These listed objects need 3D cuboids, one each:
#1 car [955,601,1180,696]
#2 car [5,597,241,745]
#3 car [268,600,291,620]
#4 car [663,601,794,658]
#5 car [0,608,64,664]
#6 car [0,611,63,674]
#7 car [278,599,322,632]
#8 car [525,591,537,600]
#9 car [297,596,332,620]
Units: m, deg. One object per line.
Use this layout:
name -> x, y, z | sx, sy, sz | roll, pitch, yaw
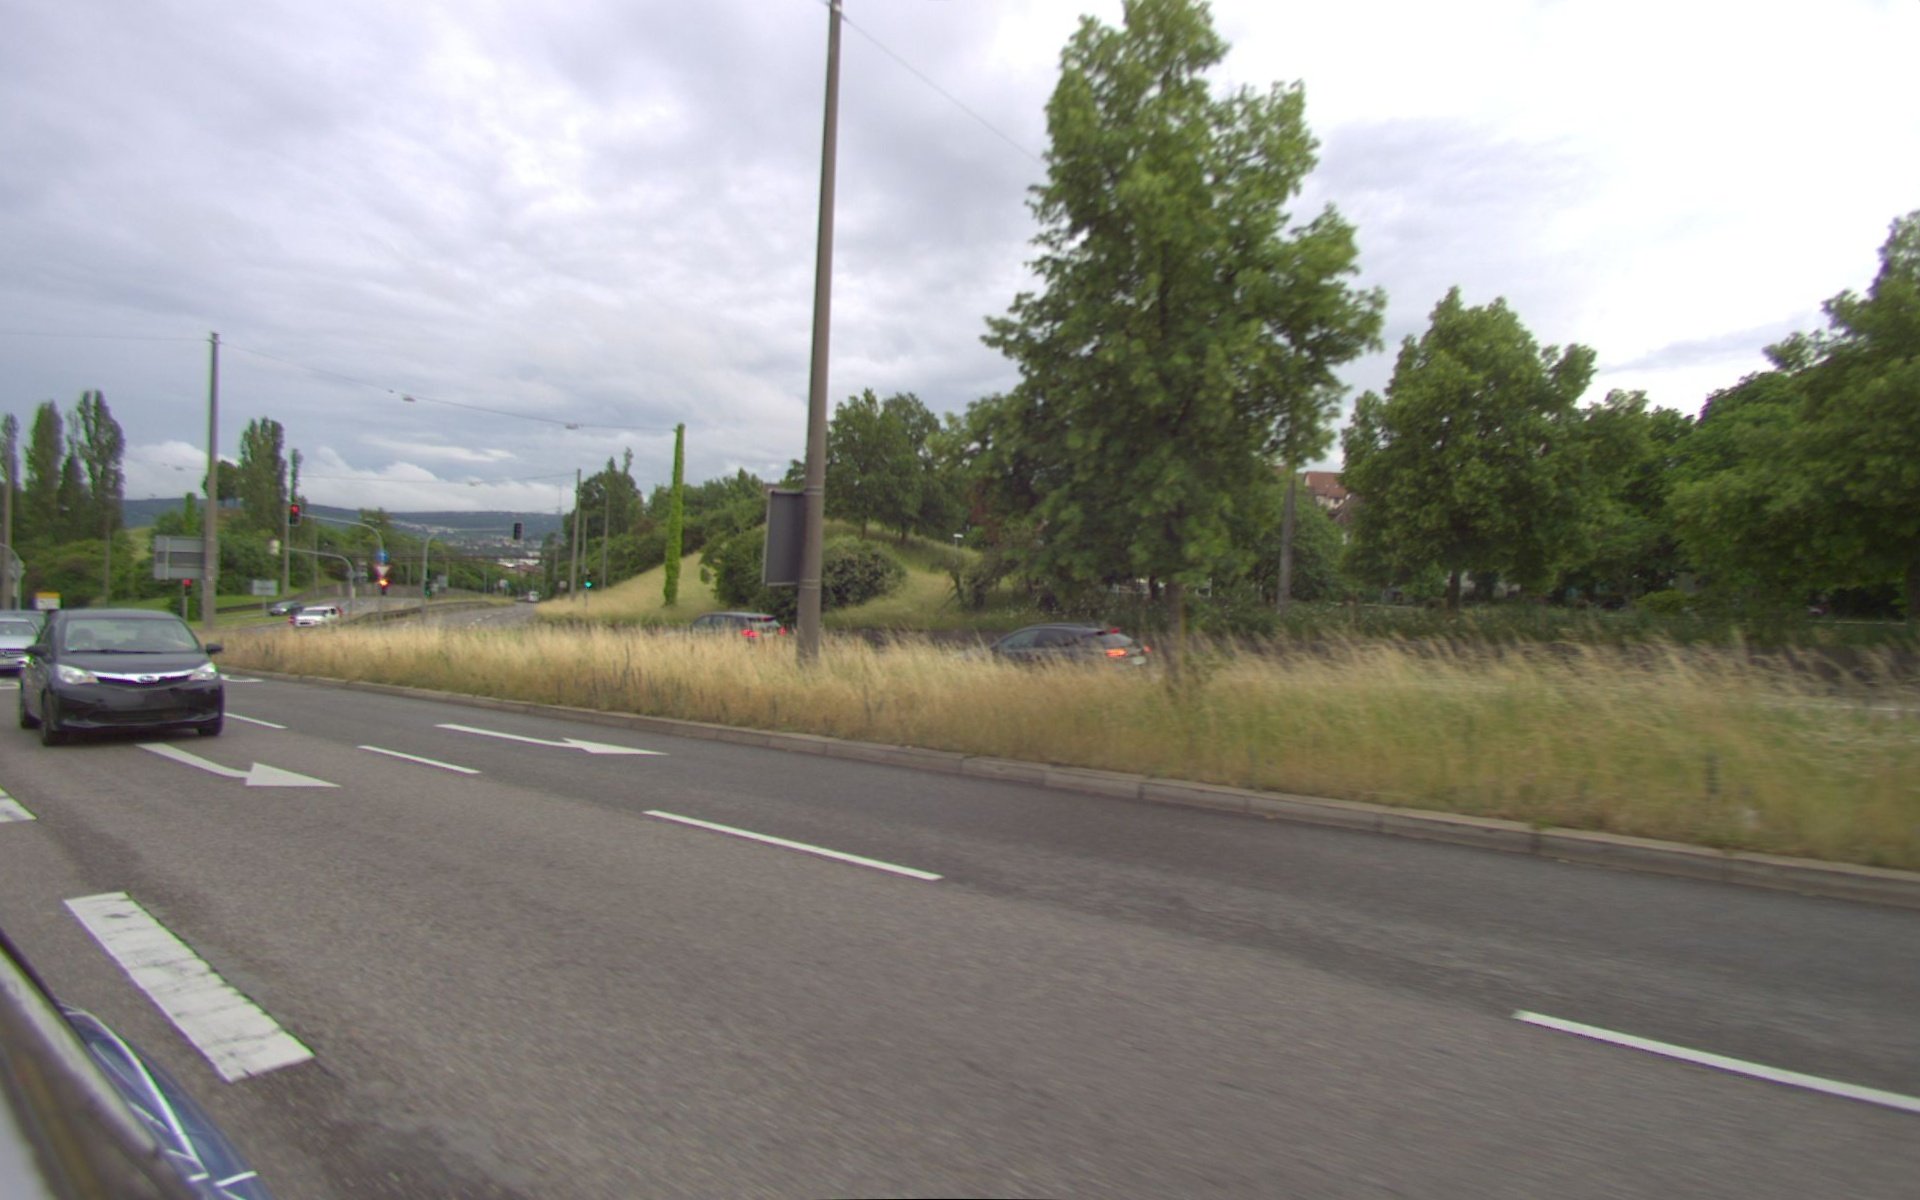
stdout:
car -> 2.083, 0.882, 20.049 | 4.013, 1.652, 1.975 | -1, 0, 38
car -> -10.705, 0.783, 12.840 | 4.043, 1.577, 1.776 | -1, -1, 43
car -> -72.122, 1.078, 107.247 | 1.967, 2.029, 4.010 | 2, -3, -35
car -> -7.198, 0.880, 31.294 | 3.994, 1.632, 1.844 | -1, 0, 38
car -> -31.592, 1.151, 34.001 | 4.026, 1.748, 1.901 | 0, 0, 44
car -> -23.644, 0.993, 24.890 | 4.526, 1.419, 1.971 | 0, -4, 44
car -> -43.425, 1.007, 66.657 | 1.966, 2.029, 4.012 | -3, 0, -28
car -> -70.139, -0.734, 165.377 | 1.535, 1.443, 3.240 | -2, 2, -18
car -> -48.939, 0.603, 76.774 | 1.966, 1.705, 4.302 | -1, 0, -29
